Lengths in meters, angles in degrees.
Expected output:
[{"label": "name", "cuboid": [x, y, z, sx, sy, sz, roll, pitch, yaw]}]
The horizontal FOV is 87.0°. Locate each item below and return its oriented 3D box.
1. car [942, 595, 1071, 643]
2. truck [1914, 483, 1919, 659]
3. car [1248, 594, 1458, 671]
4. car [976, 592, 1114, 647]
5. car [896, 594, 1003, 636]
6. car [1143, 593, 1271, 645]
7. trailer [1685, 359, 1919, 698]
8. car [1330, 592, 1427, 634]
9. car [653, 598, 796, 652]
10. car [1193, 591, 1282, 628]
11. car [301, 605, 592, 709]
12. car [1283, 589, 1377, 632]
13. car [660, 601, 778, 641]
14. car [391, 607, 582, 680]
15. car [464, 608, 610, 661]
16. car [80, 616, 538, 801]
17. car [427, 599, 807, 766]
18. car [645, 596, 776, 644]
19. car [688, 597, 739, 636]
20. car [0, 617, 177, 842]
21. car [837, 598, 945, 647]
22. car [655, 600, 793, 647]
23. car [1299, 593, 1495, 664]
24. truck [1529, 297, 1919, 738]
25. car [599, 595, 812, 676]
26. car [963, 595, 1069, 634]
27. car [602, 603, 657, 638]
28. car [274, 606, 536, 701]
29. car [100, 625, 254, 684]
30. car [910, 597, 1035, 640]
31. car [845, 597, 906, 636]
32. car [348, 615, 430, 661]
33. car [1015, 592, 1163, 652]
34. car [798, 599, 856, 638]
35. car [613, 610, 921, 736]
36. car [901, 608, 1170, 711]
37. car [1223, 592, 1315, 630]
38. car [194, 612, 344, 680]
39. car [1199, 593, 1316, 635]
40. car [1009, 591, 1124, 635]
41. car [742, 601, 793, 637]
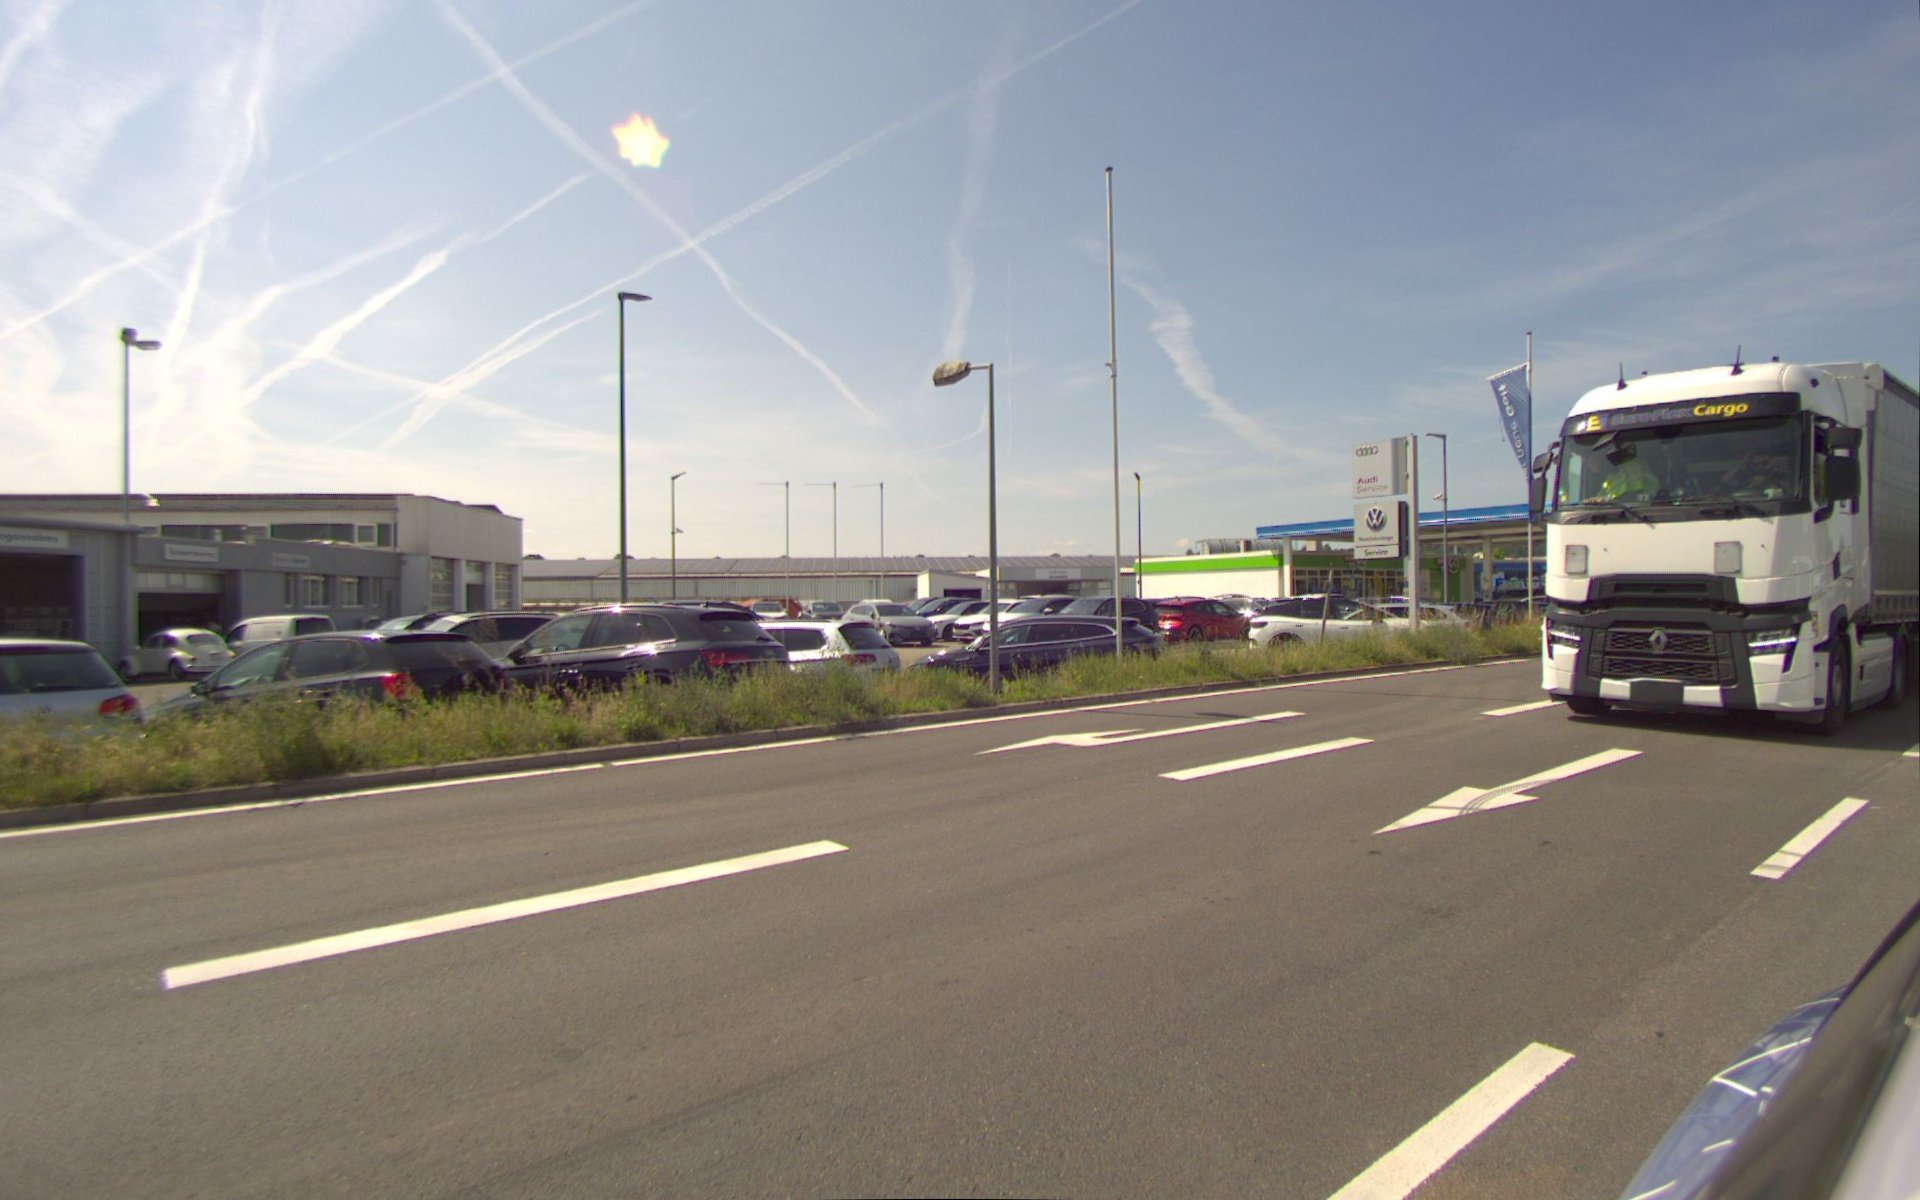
[{"label": "car", "cuboid": [1.675, 0.630, 35.449, 4.452, 1.545, 1.691, -1, 1, -35]}, {"label": "truck", "cuboid": [26.417, -0.704, 25.029, 9.068, 4.037, 2.648, -1, 1, -37]}, {"label": "car", "cuboid": [9.249, 0.703, 23.977, 4.487, 1.675, 1.762, 0, 1, 24]}, {"label": "car", "cuboid": [2.829, 0.593, 33.221, 4.452, 1.675, 1.776, -1, 1, -35]}, {"label": "car", "cuboid": [-0.386, 0.569, 40.099, 4.051, 1.551, 1.609, -1, 1, -35]}, {"label": "car", "cuboid": [8.415, 0.592, 34.327, 4.452, 1.600, 1.776, -1, 1, -35]}, {"label": "trailer", "cuboid": [15.669, -0.968, 17.187, 11.088, 4.281, 2.613, -1, 1, -39]}, {"label": "car", "cuboid": [17.014, 0.471, 41.083, 4.069, 1.600, 1.776, -1, 1, -35]}, {"label": "car", "cuboid": [-7.281, 0.733, 31.245, 4.119, 1.560, 1.827, 0, 1, -19]}, {"label": "car", "cuboid": [13.032, 0.409, 47.430, 4.242, 1.600, 1.722, -1, 1, -35]}, {"label": "car", "cuboid": [-9.684, 0.971, 19.360, 4.633, 1.675, 1.904, -1, 1, -45]}, {"label": "car", "cuboid": [15.789, 0.394, 43.131, 4.179, 1.734, 1.714, -1, 1, -35]}, {"label": "car", "cuboid": [-9.611, 0.798, 40.364, 4.442, 1.493, 1.827, 0, 1, -19]}, {"label": "car", "cuboid": [-12.761, 1.107, 27.380, 4.452, 1.751, 1.823, -1, 1, -35]}, {"label": "car", "cuboid": [-14.750, 1.152, 35.409, 4.453, 1.675, 1.775, -1, 1, -36]}, {"label": "car", "cuboid": [-6.584, 0.985, 10.362, 3.941, 1.572, 1.768, 0, 0, 14]}, {"label": "car", "cuboid": [-3.958, 0.843, 11.803, 3.945, 1.675, 1.766, 0, 0, 17]}, {"label": "car", "cuboid": [-8.991, 0.683, 36.420, 4.442, 1.603, 1.827, 0, 1, -19]}, {"label": "car", "cuboid": [-11.412, 0.713, 46.594, 2.025, 1.675, 4.548, 0, 1, -17]}, {"label": "car", "cuboid": [-8.695, 0.963, 8.436, 3.953, 1.578, 1.700, 0, 1, 22]}, {"label": "car", "cuboid": [-2.405, 0.706, 34.195, 1.910, 1.477, 4.543, 0, 1, -29]}, {"label": "car", "cuboid": [-7.965, 0.752, 34.094, 4.390, 1.449, 1.827, 0, 1, -19]}, {"label": "car", "cuboid": [11.151, 0.672, 26.008, 4.489, 1.675, 1.761, 0, 1, 25]}, {"label": "truck", "cuboid": [9.495, -0.795, 12.179, 5.933, 4.037, 2.647, -1, 1, -39]}, {"label": "car", "cuboid": [-5.807, 0.740, 23.385, 4.455, 1.675, 1.775, -1, 1, -38]}, {"label": "car", "cuboid": [2.537, 0.616, 45.390, 4.444, 1.675, 1.779, 0, 1, -25]}, {"label": "car", "cuboid": [-19.603, 1.175, 60.181, 2.167, 1.955, 4.164, 0, 1, -4]}, {"label": "car", "cuboid": [-11.514, 1.016, 21.196, 4.464, 1.675, 1.964, -1, 1, -45]}, {"label": "car", "cuboid": [-22.762, 1.535, 29.435, 4.028, 1.510, 1.764, 0, 1, 22]}, {"label": "car", "cuboid": [0.495, 0.648, 37.482, 4.452, 1.459, 1.776, -1, 1, -35]}, {"label": "car", "cuboid": [-4.131, 0.745, 48.803, 2.025, 1.750, 4.548, 0, 1, -17]}, {"label": "car", "cuboid": [-24.270, 1.549, 42.938, 3.899, 1.751, 1.953, 0, 1, 43]}, {"label": "car", "cuboid": [3.979, 0.621, 30.887, 4.452, 1.675, 1.776, -1, 1, -35]}, {"label": "car", "cuboid": [-6.416, 0.837, 48.539, 2.025, 1.675, 4.548, 0, 1, -17]}, {"label": "car", "cuboid": [-2.684, 0.910, 14.068, 3.957, 1.476, 1.761, 0, 1, 25]}, {"label": "car", "cuboid": [1.347, 0.963, 17.856, 4.479, 1.600, 1.765, 0, 1, 19]}, {"label": "car", "cuboid": [13.800, 0.439, 45.078, 4.158, 1.600, 1.776, -1, 1, -35]}, {"label": "car", "cuboid": [-21.897, 1.410, 32.069, 4.484, 1.973, 1.763, 0, 0, 22]}, {"label": "car", "cuboid": [12.004, 0.521, 41.153, 1.742, 1.600, 4.540, 0, 1, -33]}, {"label": "car", "cuboid": [4.312, 0.489, 40.795, 4.449, 1.675, 1.777, -1, 1, -32]}, {"label": "car", "cuboid": [-9.136, 0.853, 47.758, 1.899, 1.515, 4.548, 0, 1, -17]}]
